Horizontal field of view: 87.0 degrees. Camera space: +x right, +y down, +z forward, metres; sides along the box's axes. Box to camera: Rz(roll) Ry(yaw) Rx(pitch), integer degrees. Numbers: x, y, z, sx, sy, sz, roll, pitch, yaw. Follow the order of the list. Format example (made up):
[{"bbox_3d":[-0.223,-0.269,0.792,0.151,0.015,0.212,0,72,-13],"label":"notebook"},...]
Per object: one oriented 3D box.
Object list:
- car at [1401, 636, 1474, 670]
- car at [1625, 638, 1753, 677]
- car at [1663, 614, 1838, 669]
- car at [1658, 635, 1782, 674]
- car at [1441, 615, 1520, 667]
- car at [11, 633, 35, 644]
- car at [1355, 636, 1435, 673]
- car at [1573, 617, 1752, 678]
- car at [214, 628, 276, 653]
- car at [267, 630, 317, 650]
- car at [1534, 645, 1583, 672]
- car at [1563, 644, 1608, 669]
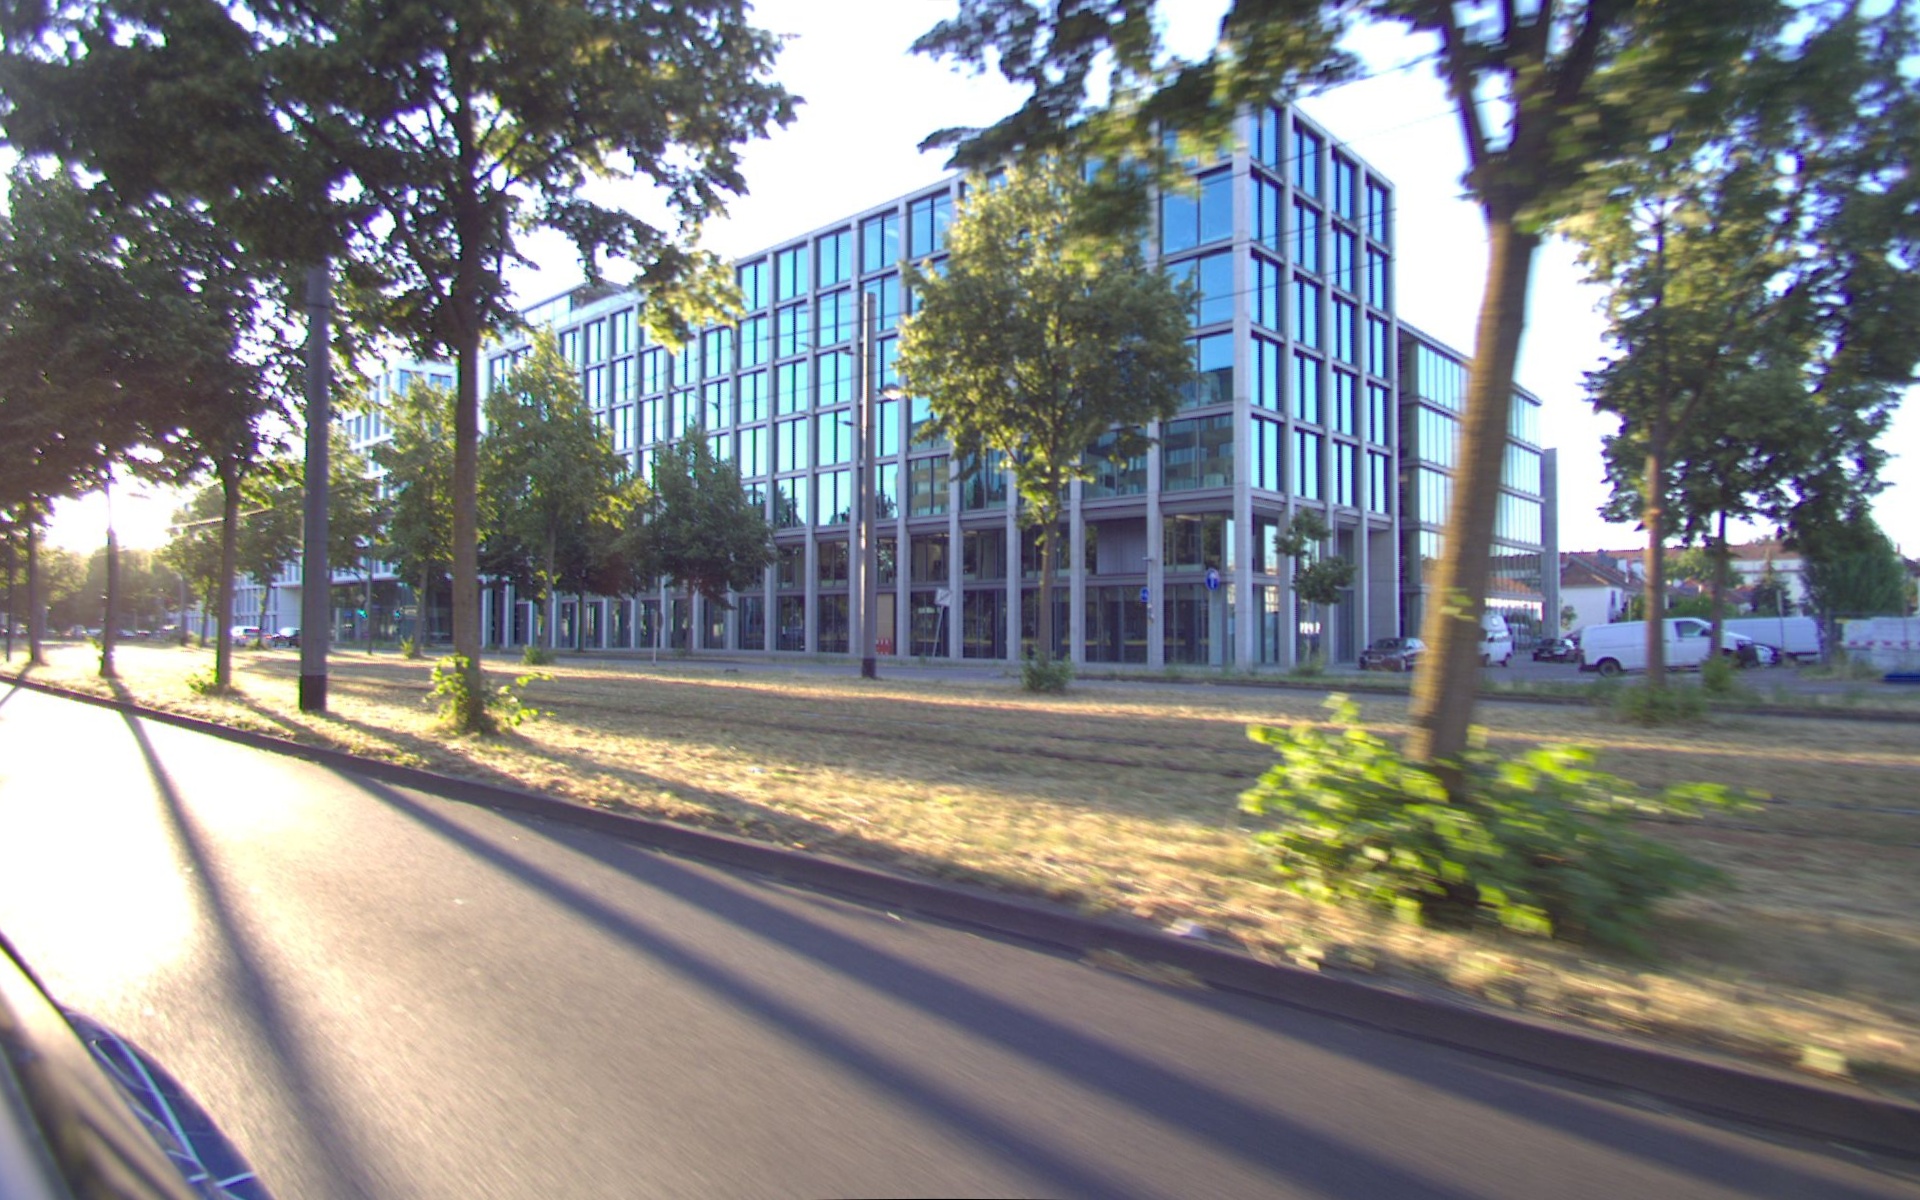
[{"bbox_3d":[21.933,2.401,46.436,1.895,1.457,3.942,-2,-2,44],"label":"car"},{"bbox_3d":[28.914,2.231,40.189,3.997,1.429,1.973,-1,-2,41],"label":"car"},{"bbox_3d":[42.704,2.217,54.880,7.304,2.787,2.443,-1,-2,40],"label":"car"},{"bbox_3d":[31.522,2.228,42.028,3.997,1.521,1.973,-1,-2,41],"label":"car"},{"bbox_3d":[26.097,2.020,50.640,1.974,2.486,5.419,-2,-2,44],"label":"car"},{"bbox_3d":[-127.419,5.247,137.590,3.993,1.460,1.625,-2,-2,37],"label":"car"},{"bbox_3d":[18.489,2.262,42.933,1.894,1.457,3.943,-2,-2,43],"label":"car"},{"bbox_3d":[25.075,1.662,36.235,5.080,2.029,2.183,-1,-2,41],"label":"car"},{"bbox_3d":[-44.011,2.468,62.231,4.625,1.497,1.884,-2,-2,39],"label":"car"},{"bbox_3d":[-48.440,2.863,73.350,4.385,1.433,1.911,-1,-2,40],"label":"car"},{"bbox_3d":[35.074,3.380,59.284,1.689,1.457,3.790,-2,-2,43],"label":"car"},{"bbox_3d":[39.392,3.515,63.698,1.689,1.457,3.790,-2,-2,43],"label":"car"}]
